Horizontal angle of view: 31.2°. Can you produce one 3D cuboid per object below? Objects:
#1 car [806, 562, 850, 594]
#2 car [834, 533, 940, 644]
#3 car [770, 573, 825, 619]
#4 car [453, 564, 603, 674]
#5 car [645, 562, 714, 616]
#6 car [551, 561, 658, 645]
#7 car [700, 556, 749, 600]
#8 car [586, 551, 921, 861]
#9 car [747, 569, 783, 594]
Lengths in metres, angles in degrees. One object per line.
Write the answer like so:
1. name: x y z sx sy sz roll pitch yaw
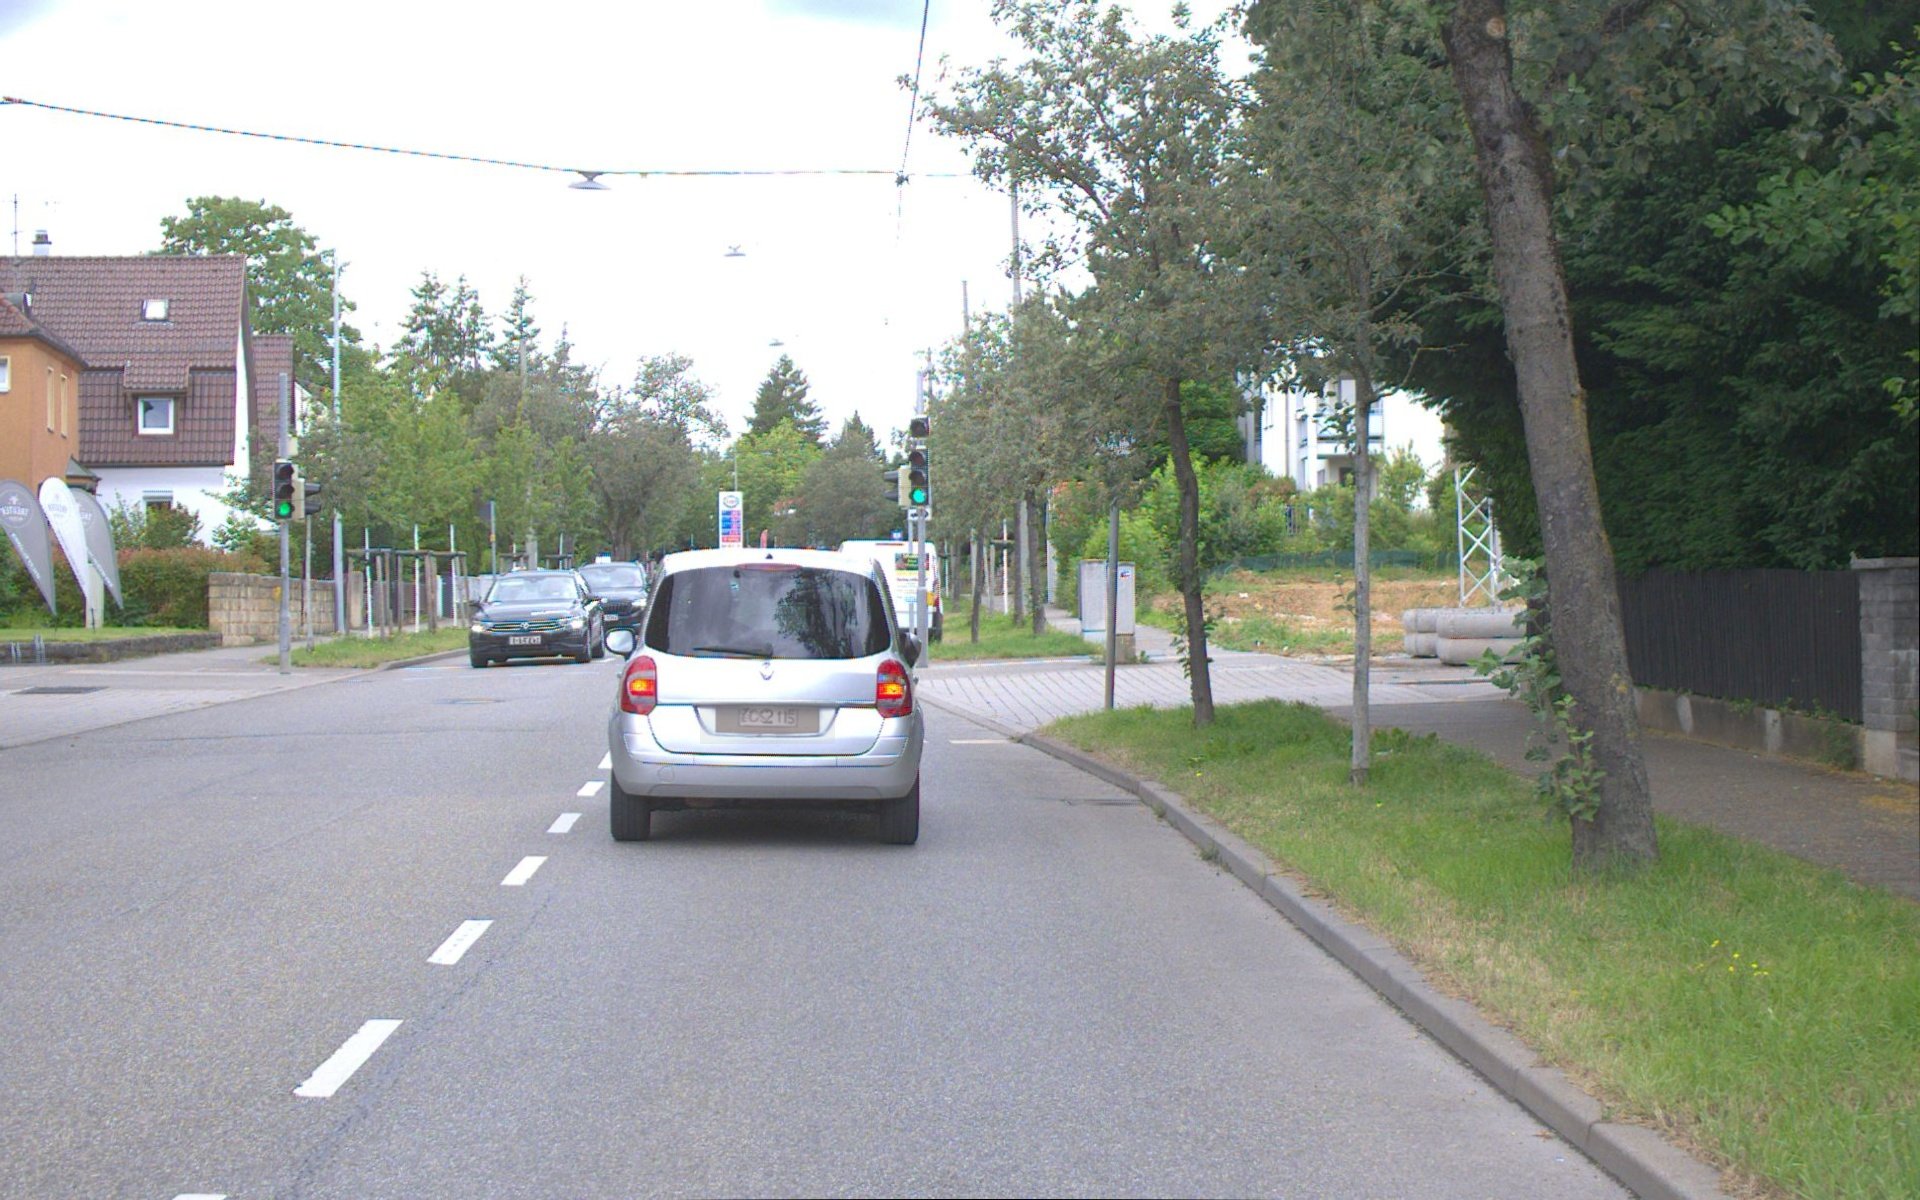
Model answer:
1. car: -6.165 -1.028 160.793 1.626 1.447 3.877 -1 1 -9
2. car: -1.364 -0.229 62.409 1.775 1.937 4.789 0 1 -3
3. car: -6.368 -0.177 134.352 1.835 1.708 4.001 -2 1 -6
4. car: -6.750 0.262 54.156 1.993 1.615 4.648 -1 1 -3
5. car: -7.912 -0.329 97.264 1.616 1.467 4.000 -2 1 -1
6. car: -7.073 0.033 68.724 1.895 1.619 4.000 -1 1 -3
7. car: -9.504 -0.884 138.810 1.813 1.687 4.466 -2 1 -3
8. car: -1.114 0.525 19.326 1.679 1.554 3.512 1 1 -2
9. car: -11.777 -1.119 207.234 1.695 1.501 3.974 0 1 -10
